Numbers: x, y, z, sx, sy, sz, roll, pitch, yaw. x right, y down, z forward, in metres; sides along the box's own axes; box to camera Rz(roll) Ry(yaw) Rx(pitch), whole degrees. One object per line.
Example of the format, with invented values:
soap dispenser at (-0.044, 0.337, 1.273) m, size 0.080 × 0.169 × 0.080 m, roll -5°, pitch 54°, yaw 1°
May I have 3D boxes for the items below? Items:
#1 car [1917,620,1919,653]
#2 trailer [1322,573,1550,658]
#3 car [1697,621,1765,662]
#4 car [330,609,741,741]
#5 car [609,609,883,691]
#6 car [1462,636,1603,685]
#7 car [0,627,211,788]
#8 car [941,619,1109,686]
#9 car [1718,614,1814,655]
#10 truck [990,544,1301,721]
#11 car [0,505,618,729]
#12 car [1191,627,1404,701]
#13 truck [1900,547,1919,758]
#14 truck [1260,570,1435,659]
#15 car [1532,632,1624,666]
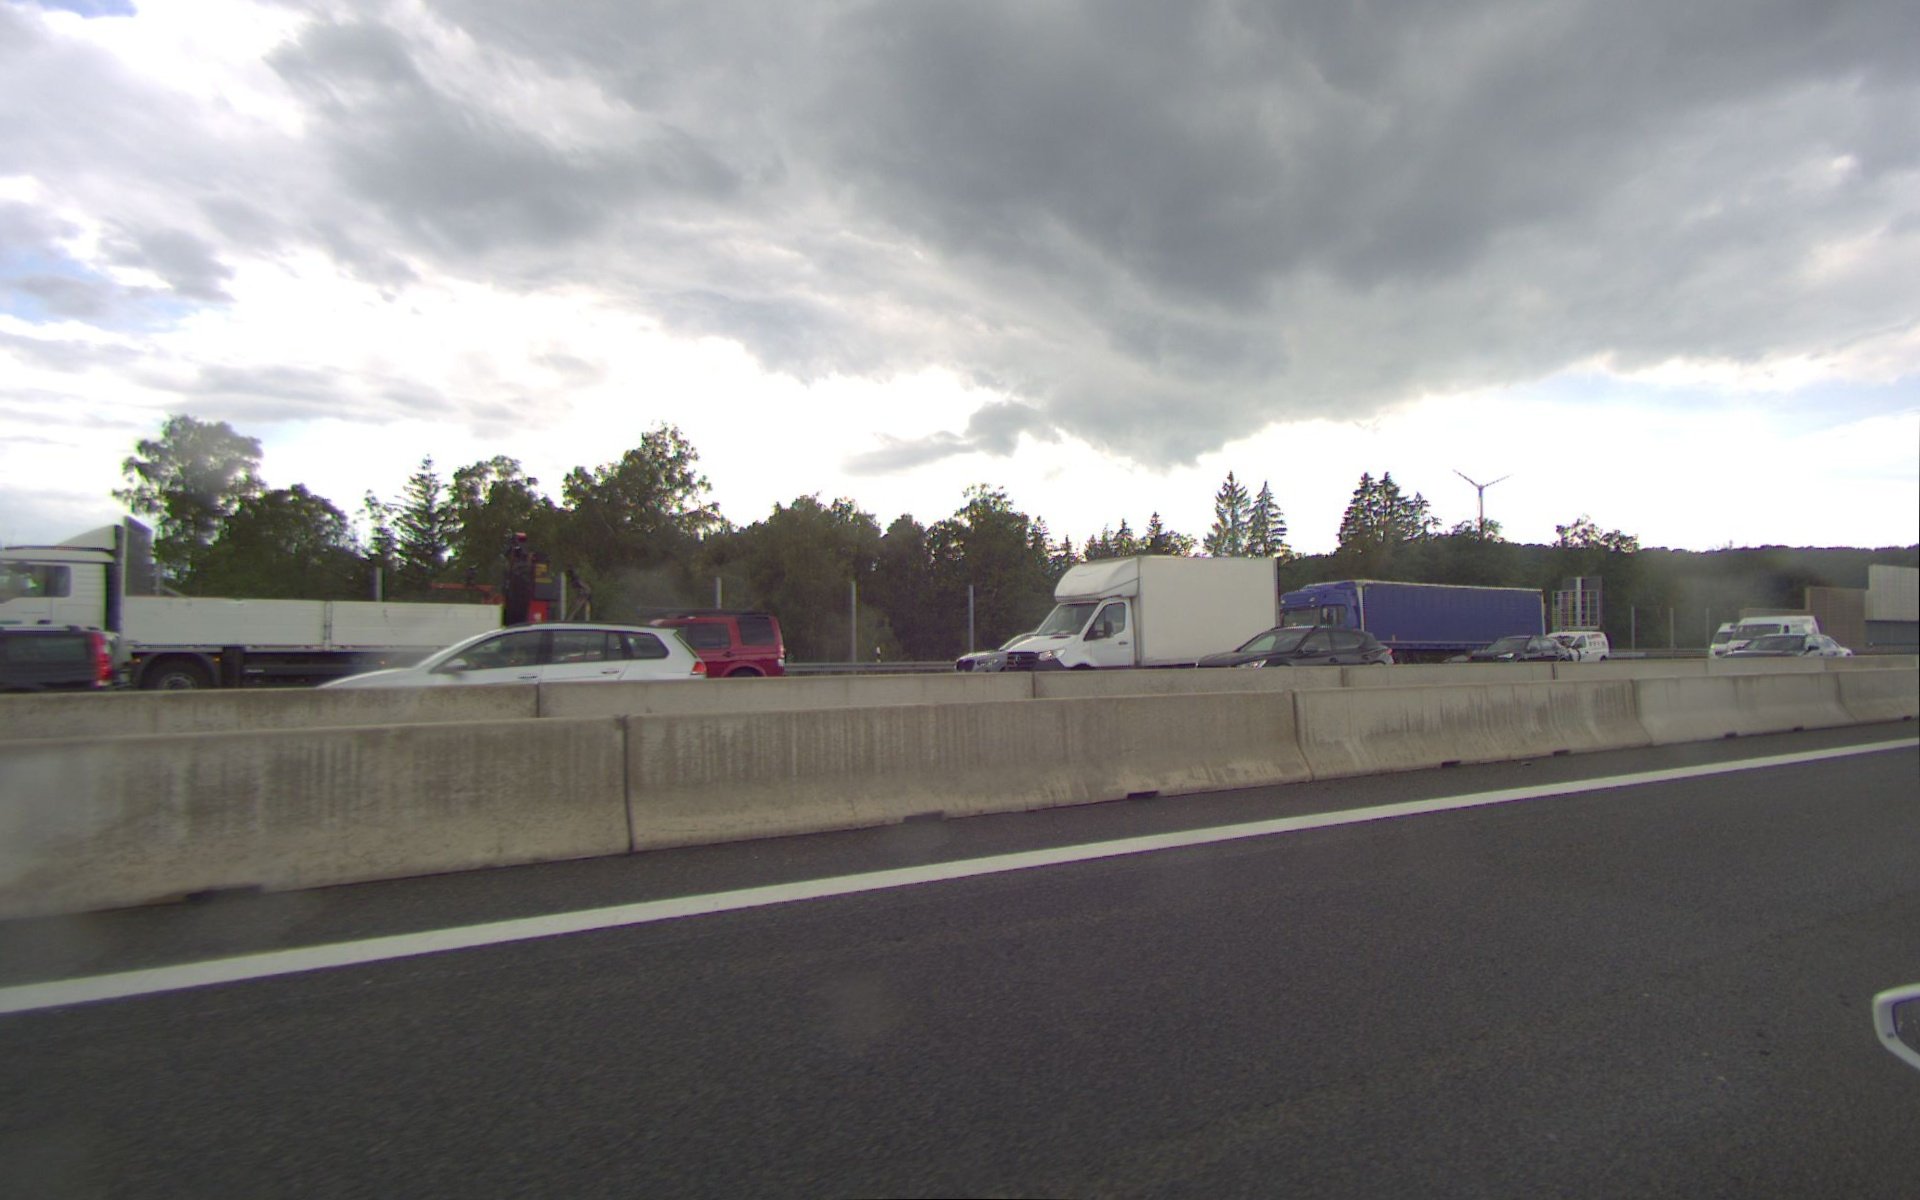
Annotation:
car at (61.063, 2.263, 61.930) m, size 3.953 × 2.040 × 1.984 m, roll 1°, pitch 0°, yaw -30°
trailer at (22.639, 0.766, 47.315) m, size 12.736 × 3.629 × 3.123 m, roll 1°, pitch 0°, yaw -30°
car at (48.127, 2.568, 62.690) m, size 4.271 × 2.398 × 1.864 m, roll 1°, pitch 0°, yaw -30°
car at (-5.010, 0.814, 12.147) m, size 4.320 × 1.352 × 1.681 m, roll 1°, pitch 0°, yaw -30°
car at (-4.518, 1.019, 21.564) m, size 5.439 × 1.565 × 1.904 m, roll 1°, pitch 0°, yaw -30°
car at (20.643, 2.125, 36.122) m, size 5.549 × 1.565 × 1.904 m, roll 1°, pitch 0°, yaw -30°
car at (-13.017, 1.332, 12.800) m, size 5.307 × 1.941 × 1.984 m, roll 1°, pitch 0°, yaw -30°
car at (1.700, 1.307, 25.908) m, size 3.990 × 1.565 × 1.862 m, roll 1°, pitch 0°, yaw -30°
car at (37.751, 1.591, 47.020) m, size 4.973 × 1.822 × 1.861 m, roll 1°, pitch 0°, yaw -30°
truck at (4.409, 0.723, 23.091) m, size 7.403 × 3.566 × 2.173 m, roll 1°, pitch 0°, yaw -30°
car at (-13.727, 0.386, 21.804) m, size 11.520 × 3.999 × 3.187 m, roll 1°, pitch 0°, yaw -30°
car at (6.489, 1.166, 19.221) m, size 3.953 × 1.250 × 1.681 m, roll 1°, pitch -1°, yaw -30°
truck at (14.708, 0.642, 12.737) m, size 7.277 × 2.440 × 2.340 m, roll 0°, pitch 0°, yaw -33°
truck at (17.047, 0.653, 44.046) m, size 7.575 × 3.629 × 3.123 m, roll 1°, pitch 0°, yaw -30°
car at (27.776, 2.178, 45.134) m, size 3.990 × 1.436 × 1.862 m, roll 1°, pitch 0°, yaw -30°
